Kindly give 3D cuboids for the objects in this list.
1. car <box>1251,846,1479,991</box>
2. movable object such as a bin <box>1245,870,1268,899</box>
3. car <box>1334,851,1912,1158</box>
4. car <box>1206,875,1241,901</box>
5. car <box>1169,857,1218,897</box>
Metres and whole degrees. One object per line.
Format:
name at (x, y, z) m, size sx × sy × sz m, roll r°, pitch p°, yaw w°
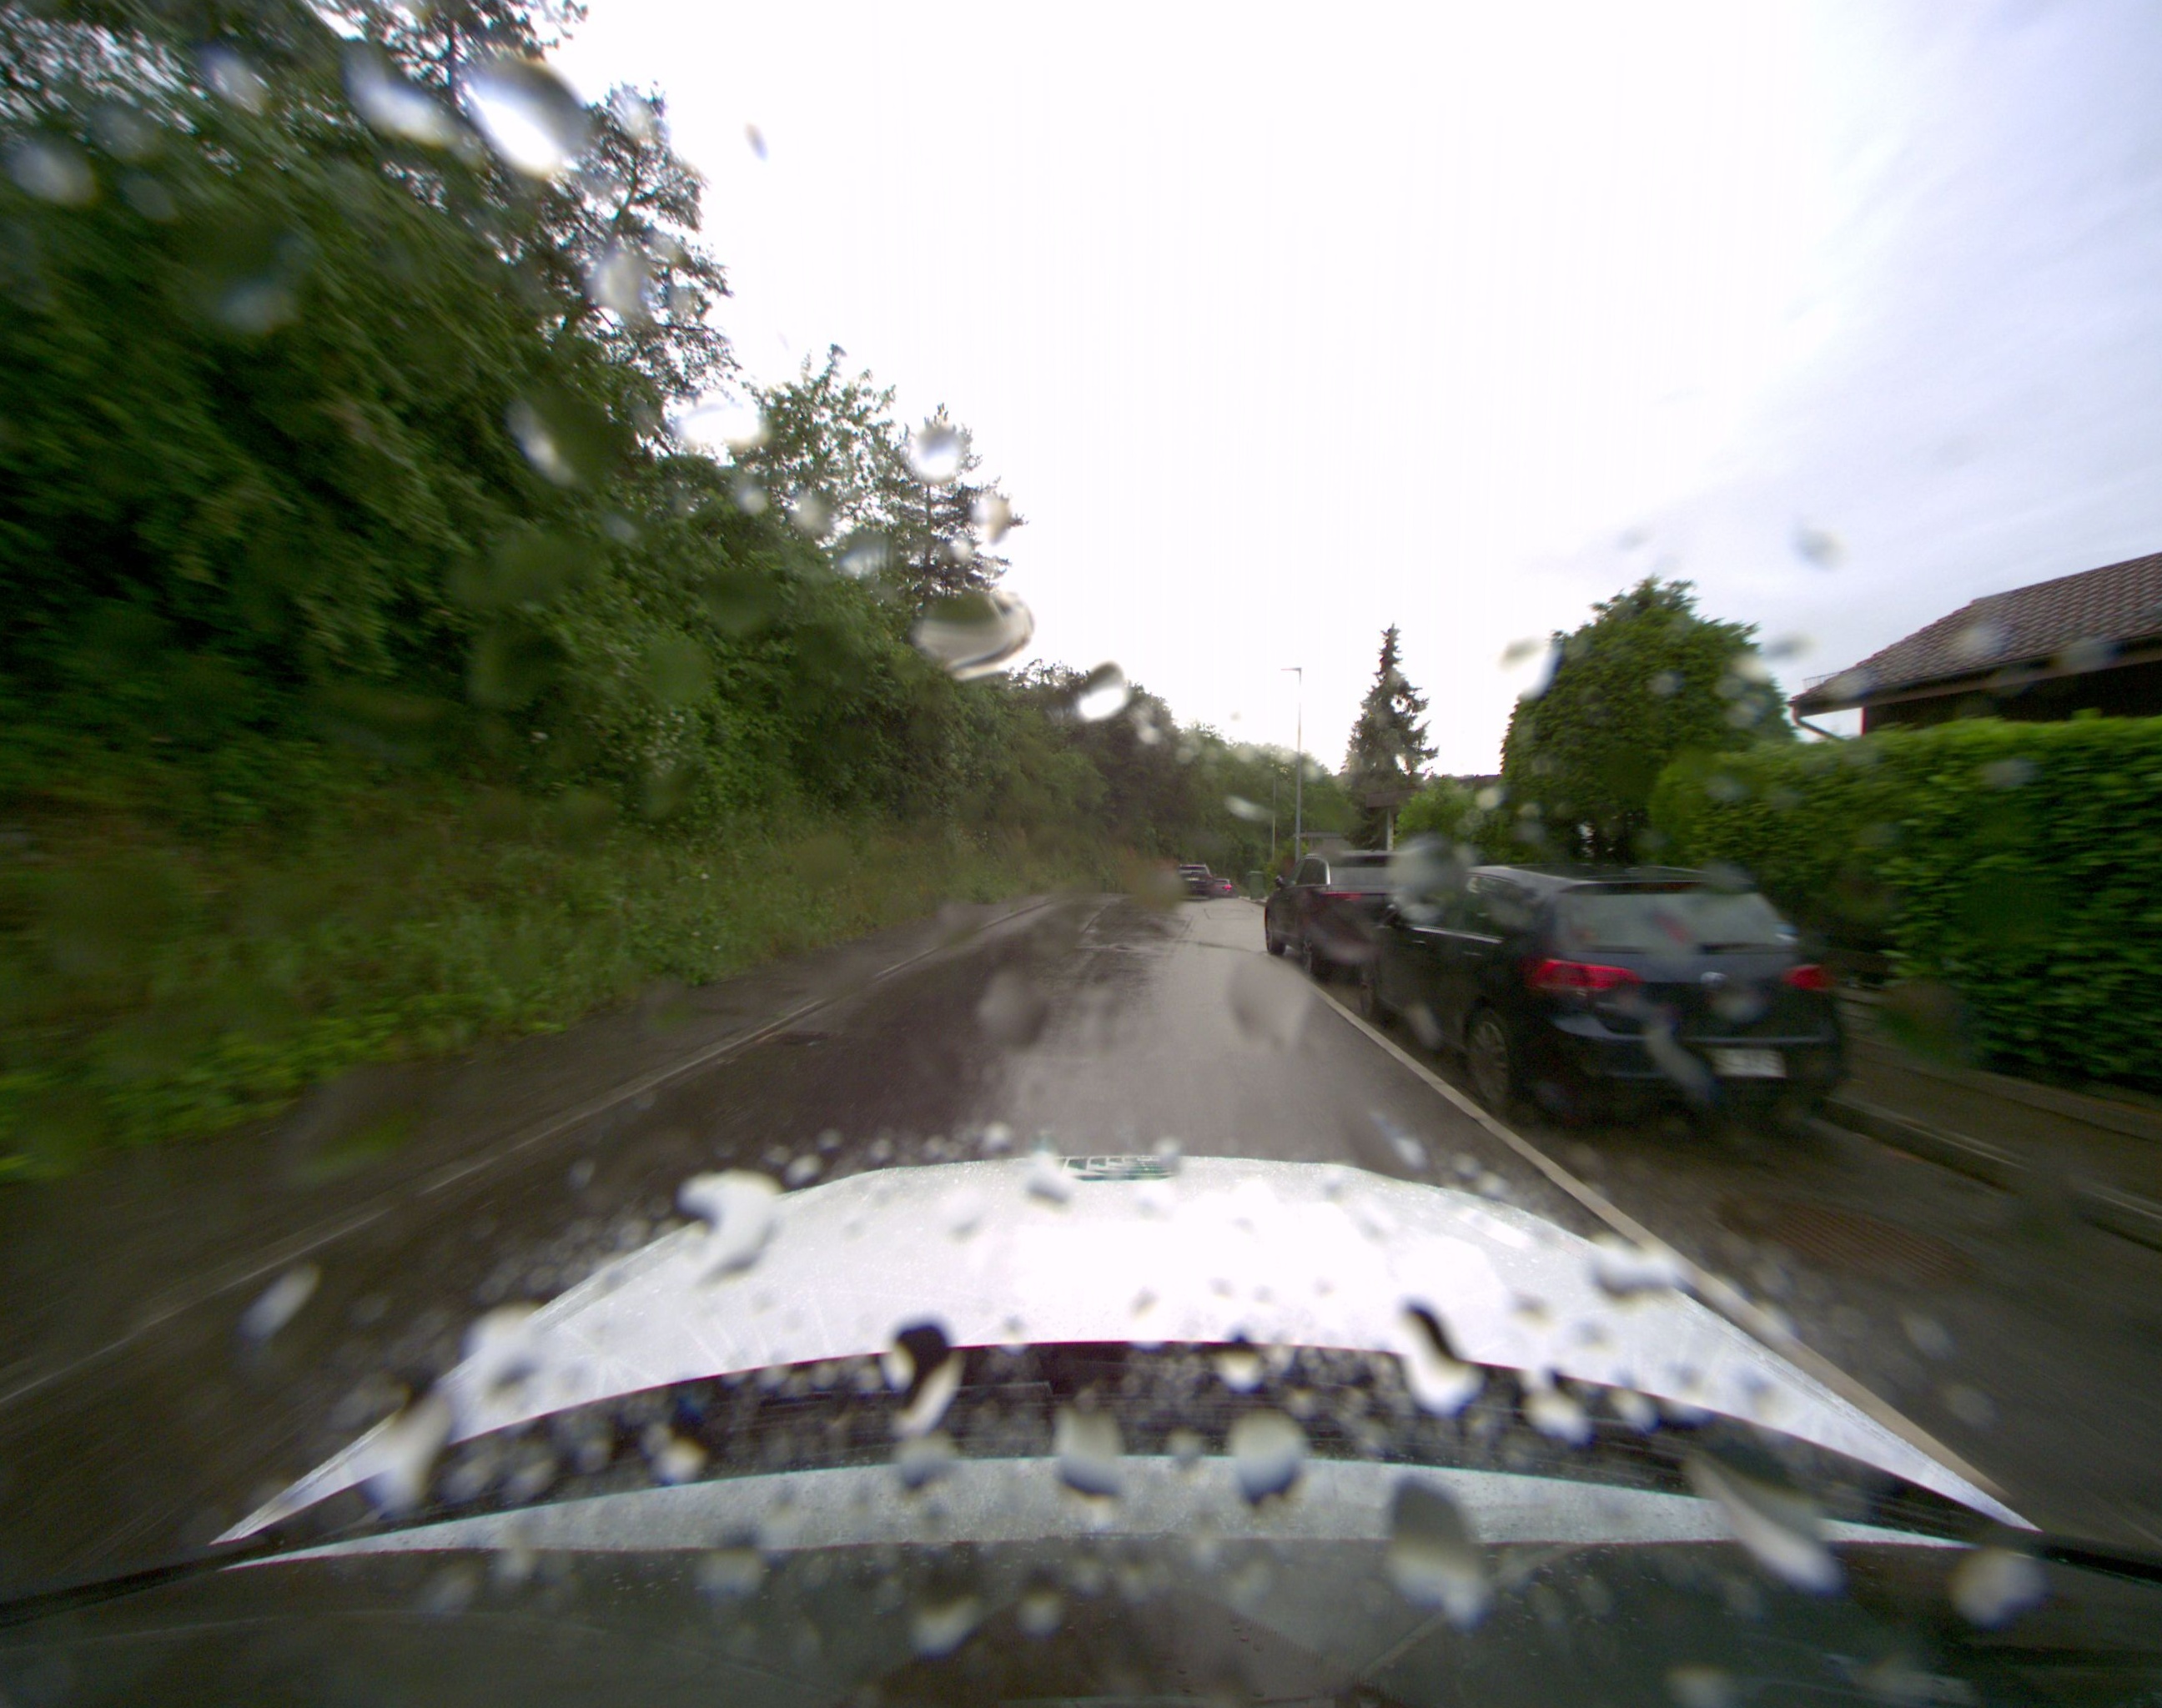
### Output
car at (3.625, 0.697, 11.300) m, size 1.867 × 1.592 × 4.484 m, roll 0°, pitch 0°, yaw 4°
movable object such as a bin at (7.076, 1.225, 32.915) m, size 0.785 × 1.096 × 0.676 m, roll -3°, pitch -3°, yaw 7°
car at (3.344, 0.729, 6.194) m, size 1.748 × 1.462 × 4.306 m, roll 1°, pitch 1°, yaw 4°
car at (10.102, 2.352, 57.548) m, size 1.979 × 1.605 × 4.427 m, roll 1°, pitch 1°, yaw 15°
car at (4.718, 1.012, 34.162) m, size 1.858 × 1.513 × 4.099 m, roll 2°, pitch -3°, yaw 7°
